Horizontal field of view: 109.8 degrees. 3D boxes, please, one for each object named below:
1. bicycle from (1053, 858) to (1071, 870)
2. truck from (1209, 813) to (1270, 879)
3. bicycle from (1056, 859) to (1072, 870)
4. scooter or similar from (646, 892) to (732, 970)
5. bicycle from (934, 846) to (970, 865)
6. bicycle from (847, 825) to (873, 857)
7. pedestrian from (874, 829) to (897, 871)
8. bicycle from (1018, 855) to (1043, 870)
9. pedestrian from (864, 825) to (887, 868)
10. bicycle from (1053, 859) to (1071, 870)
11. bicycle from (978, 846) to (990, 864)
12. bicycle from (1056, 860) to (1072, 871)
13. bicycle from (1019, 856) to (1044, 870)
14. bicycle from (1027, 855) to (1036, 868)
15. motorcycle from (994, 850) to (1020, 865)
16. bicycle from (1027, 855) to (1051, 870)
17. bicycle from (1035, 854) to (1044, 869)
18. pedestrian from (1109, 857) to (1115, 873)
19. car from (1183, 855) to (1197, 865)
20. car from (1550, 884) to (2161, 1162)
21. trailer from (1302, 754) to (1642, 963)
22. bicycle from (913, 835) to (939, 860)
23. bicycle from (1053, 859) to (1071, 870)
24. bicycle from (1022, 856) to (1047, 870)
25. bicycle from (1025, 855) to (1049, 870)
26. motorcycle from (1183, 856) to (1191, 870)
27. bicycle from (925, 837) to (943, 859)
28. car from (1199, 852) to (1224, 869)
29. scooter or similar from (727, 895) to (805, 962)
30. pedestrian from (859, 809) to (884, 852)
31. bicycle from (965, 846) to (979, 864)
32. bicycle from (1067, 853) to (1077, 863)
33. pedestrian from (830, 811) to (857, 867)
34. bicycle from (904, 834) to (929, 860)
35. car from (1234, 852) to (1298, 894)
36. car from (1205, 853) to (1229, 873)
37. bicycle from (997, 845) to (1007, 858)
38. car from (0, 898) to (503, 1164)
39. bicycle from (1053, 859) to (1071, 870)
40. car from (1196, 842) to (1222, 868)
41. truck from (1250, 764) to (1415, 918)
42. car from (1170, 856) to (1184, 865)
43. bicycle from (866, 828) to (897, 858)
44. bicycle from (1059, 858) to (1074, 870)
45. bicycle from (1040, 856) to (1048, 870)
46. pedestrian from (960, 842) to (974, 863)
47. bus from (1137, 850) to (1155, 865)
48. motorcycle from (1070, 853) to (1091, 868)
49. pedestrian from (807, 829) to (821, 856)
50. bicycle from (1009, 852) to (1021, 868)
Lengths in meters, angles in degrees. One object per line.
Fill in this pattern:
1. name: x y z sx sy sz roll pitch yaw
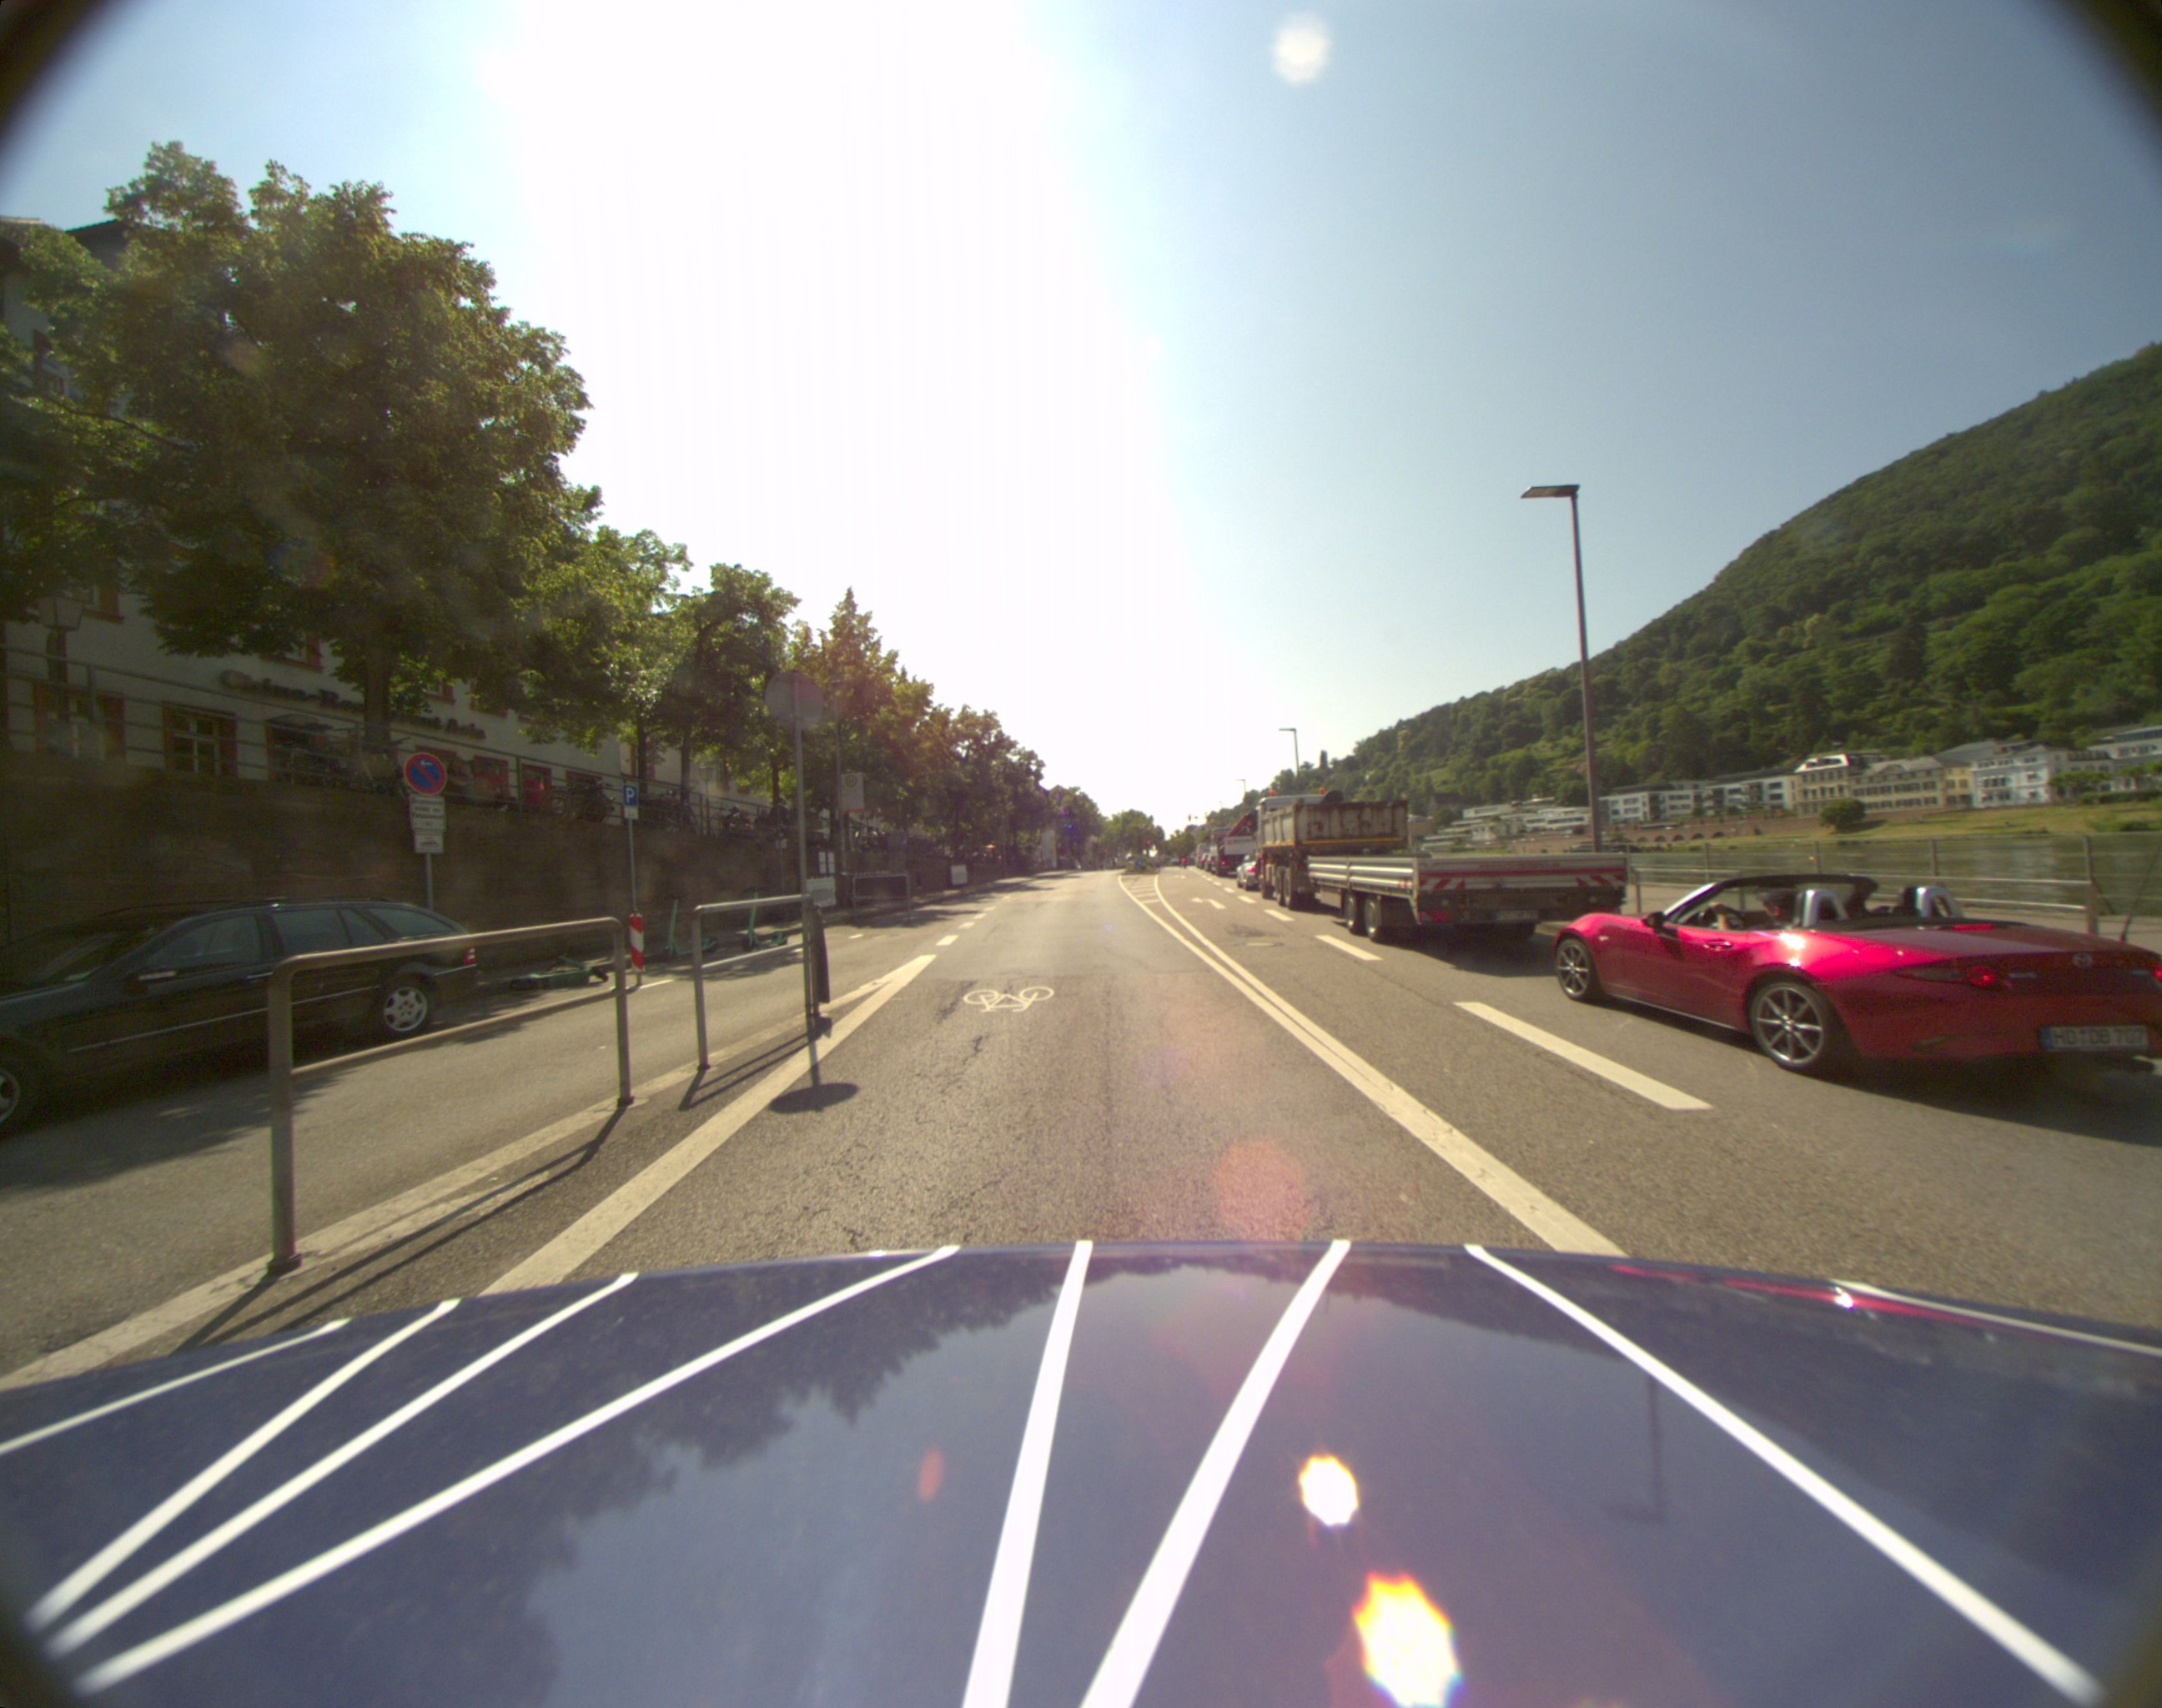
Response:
1. bicycle: -1.925 1.018 76.516 1.752 1.126 0.464 0 0 2
2. truck: 9.424 -0.412 46.323 2.647 3.456 11.113 -2 0 7
3. bicycle: -1.747 1.051 78.838 1.631 1.163 0.350 0 0 2
4. scooter or similar: -6.868 1.329 13.357 0.532 1.223 1.273 -2 0 20
5. bicycle: -7.061 0.089 41.628 1.858 0.998 0.299 -2 -1 3
6. bicycle: -7.978 -0.458 27.477 0.411 1.099 1.734 -2 0 -1
7. pedestrian: -8.207 -0.167 31.869 0.720 1.710 0.573 -2 0 6
8. bicycle: -4.562 0.765 68.093 2.160 1.254 0.477 -1 0 6
9. pedestrian: -8.447 -0.313 31.263 0.720 1.710 0.573 -2 0 6
10. bicycle: -1.856 1.033 75.109 1.753 1.126 0.540 0 0 -1
11. bicycle: -5.757 0.062 45.125 0.298 0.998 1.942 -2 -1 5
12. bicycle: -1.791 1.192 78.535 1.631 1.210 0.414 0 0 2
13. bicycle: -4.451 0.787 68.548 2.160 1.254 0.421 -1 0 6
14. bicycle: -3.955 0.632 60.927 0.301 1.042 2.164 -1 -1 7
15. motorcycle: -5.500 0.275 56.606 1.920 1.092 0.575 -1 0 -2
16. bicycle: -3.911 0.811 71.423 2.160 1.360 0.584 -1 0 6
17. bicycle: -3.532 0.663 65.184 0.476 1.254 2.163 -1 0 4
18. pedestrian: 3.481 1.229 85.253 0.541 1.767 0.583 -1 0 4
19. car: 16.584 0.937 115.803 1.998 1.444 4.263 -3 0 6
20. car: 5.267 0.895 5.472 1.675 1.187 3.629 -1 0 3
21. trailer: 5.778 0.046 12.780 2.703 2.516 6.949 -1 0 6
22. bicycle: -7.175 -0.288 35.261 0.410 1.099 1.925 -2 0 11
23. bicycle: -1.924 1.033 75.671 1.752 1.126 0.464 0 0 2
24. bicycle: -4.245 0.865 69.360 2.160 1.254 0.477 -1 0 6
25. bicycle: -4.037 0.811 70.380 2.160 1.360 0.477 -1 0 6
26. motorcycle: 10.846 0.933 77.995 0.727 1.379 2.513 -2 0 8
27. bicycle: -7.763 -0.300 40.070 0.382 1.133 1.935 -2 -1 5
28. car: 11.847 0.611 69.161 1.997 1.410 4.923 -2 0 7
29. scooter or similar: -5.782 1.351 14.025 0.532 1.083 1.440 -2 0 15
30. pedestrian: -8.437 -0.940 30.636 0.720 1.710 0.711 -2 0 6
31. bicycle: -6.158 0.065 43.015 0.298 0.998 1.861 -2 -1 5
32. bicycle: -0.908 0.393 76.546 0.539 1.002 1.756 -2 0 17
33. pedestrian: -9.423 -0.605 30.201 0.720 2.176 0.711 -2 0 6
34. bicycle: -7.263 -0.295 33.569 0.410 1.099 1.736 -2 0 11
35. car: 7.023 0.672 29.193 1.781 1.435 3.999 -2 0 6
36. car: 10.404 0.658 58.370 1.660 1.428 4.083 -2 0 8
37. bicycle: -5.194 -0.147 50.174 0.350 0.779 1.919 -2 -1 3
38. car: -7.535 1.254 6.168 1.846 1.441 4.536 -3 0 6
39. bicycle: -1.906 1.025 76.078 1.752 1.126 0.464 0 0 2
40. car: 12.962 0.121 77.177 2.199 2.511 4.751 0 0 6
41. truck: 6.543 -0.301 21.081 2.647 3.436 7.874 -1 0 6
42. car: 16.656 1.124 131.810 1.908 1.428 3.892 -3 0 2
43. bicycle: -7.709 -0.423 29.437 0.410 1.099 1.736 -2 0 11
44. bicycle: -1.518 1.047 79.490 1.628 1.163 0.425 -1 -1 24
45. bicycle: -3.289 0.771 67.432 0.476 1.254 2.163 -1 0 4
46. pedestrian: -6.873 -0.094 45.831 0.696 1.257 0.670 -2 0 2
47. bus: 14.607 0.795 171.777 2.656 3.368 10.793 -2 0 -2
48. motorcycle: -0.035 0.728 80.082 2.196 1.519 0.800 -2 0 42
49. pedestrian: -15.538 -0.649 44.283 0.469 1.536 0.608 -4 0 6
50. bicycle: -4.721 0.451 54.372 0.345 1.106 1.920 -2 0 10
